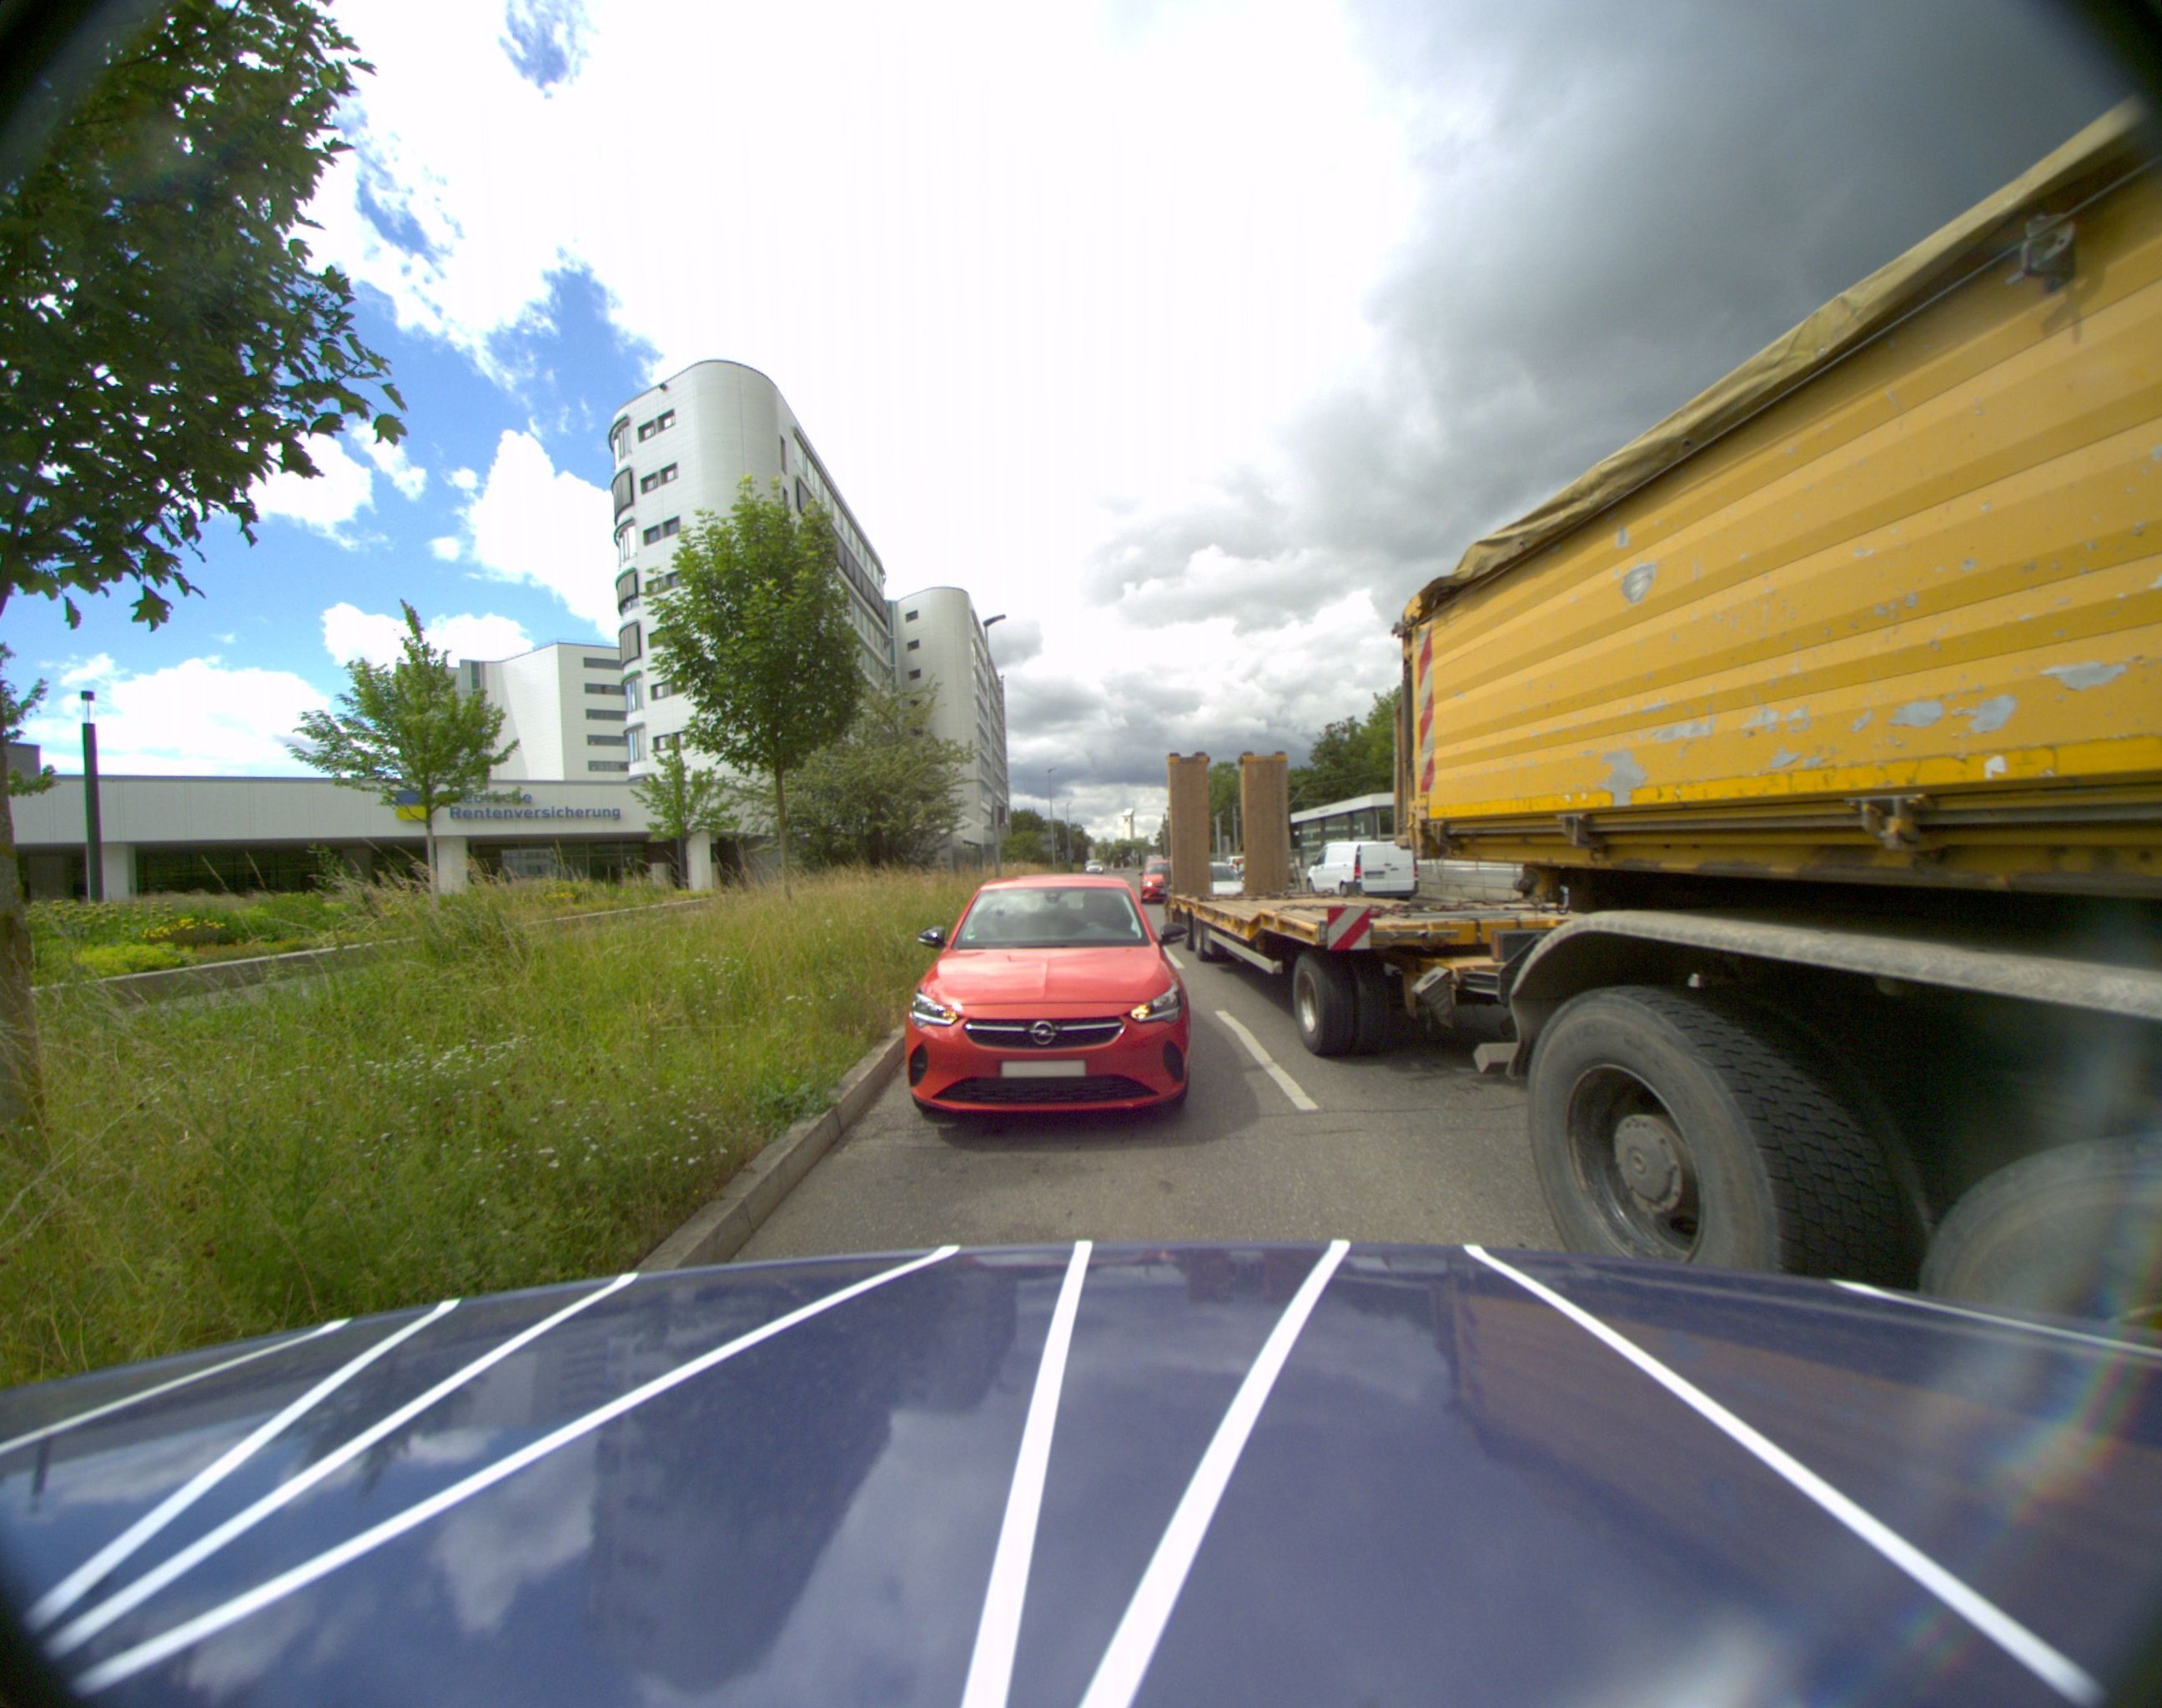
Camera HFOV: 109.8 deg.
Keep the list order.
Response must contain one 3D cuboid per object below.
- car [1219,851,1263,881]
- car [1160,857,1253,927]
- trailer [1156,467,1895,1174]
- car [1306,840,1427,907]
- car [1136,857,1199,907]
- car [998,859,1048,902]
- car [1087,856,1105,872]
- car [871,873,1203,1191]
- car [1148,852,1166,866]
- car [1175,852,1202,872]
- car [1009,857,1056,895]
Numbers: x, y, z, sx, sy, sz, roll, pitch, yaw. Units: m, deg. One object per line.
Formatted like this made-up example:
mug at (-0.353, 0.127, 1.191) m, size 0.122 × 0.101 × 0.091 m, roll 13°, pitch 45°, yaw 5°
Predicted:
car at (8.814, 0.646, 42.054) m, size 1.644 × 1.489 × 3.554 m, roll -2°, pitch 0°, yaw 1°
car at (3.057, 0.879, 19.237) m, size 1.692 × 1.471 × 3.999 m, roll -2°, pitch 1°, yaw 1°
trailer at (2.810, -0.160, 9.332) m, size 2.713 × 3.501 × 10.914 m, roll -2°, pitch 0°, yaw 1°
car at (8.536, 0.550, 23.265) m, size 1.887 × 1.761 × 4.864 m, roll -2°, pitch 0°, yaw 1°
car at (2.900, 0.891, 26.141) m, size 1.692 × 1.471 × 3.999 m, roll -2°, pitch 1°, yaw 1°
car at (-2.289, 1.009, 30.659) m, size 1.738 × 1.565 × 3.445 m, roll -2°, pitch 0°, yaw 0°
car at (1.537, 1.041, 78.106) m, size 1.738 × 1.565 × 3.446 m, roll -2°, pitch 0°, yaw 0°
car at (-0.203, 0.993, 5.997) m, size 1.692 × 1.471 × 3.999 m, roll -2°, pitch 1°, yaw 1°
car at (8.726, 0.601, 87.780) m, size 1.770 × 1.489 × 3.554 m, roll -2°, pitch 0°, yaw 1°
car at (8.675, 0.636, 61.576) m, size 1.644 × 1.489 × 3.554 m, roll -2°, pitch 0°, yaw 1°
car at (-2.187, 0.964, 35.419) m, size 1.850 × 1.565 × 4.623 m, roll -2°, pitch 0°, yaw 0°
